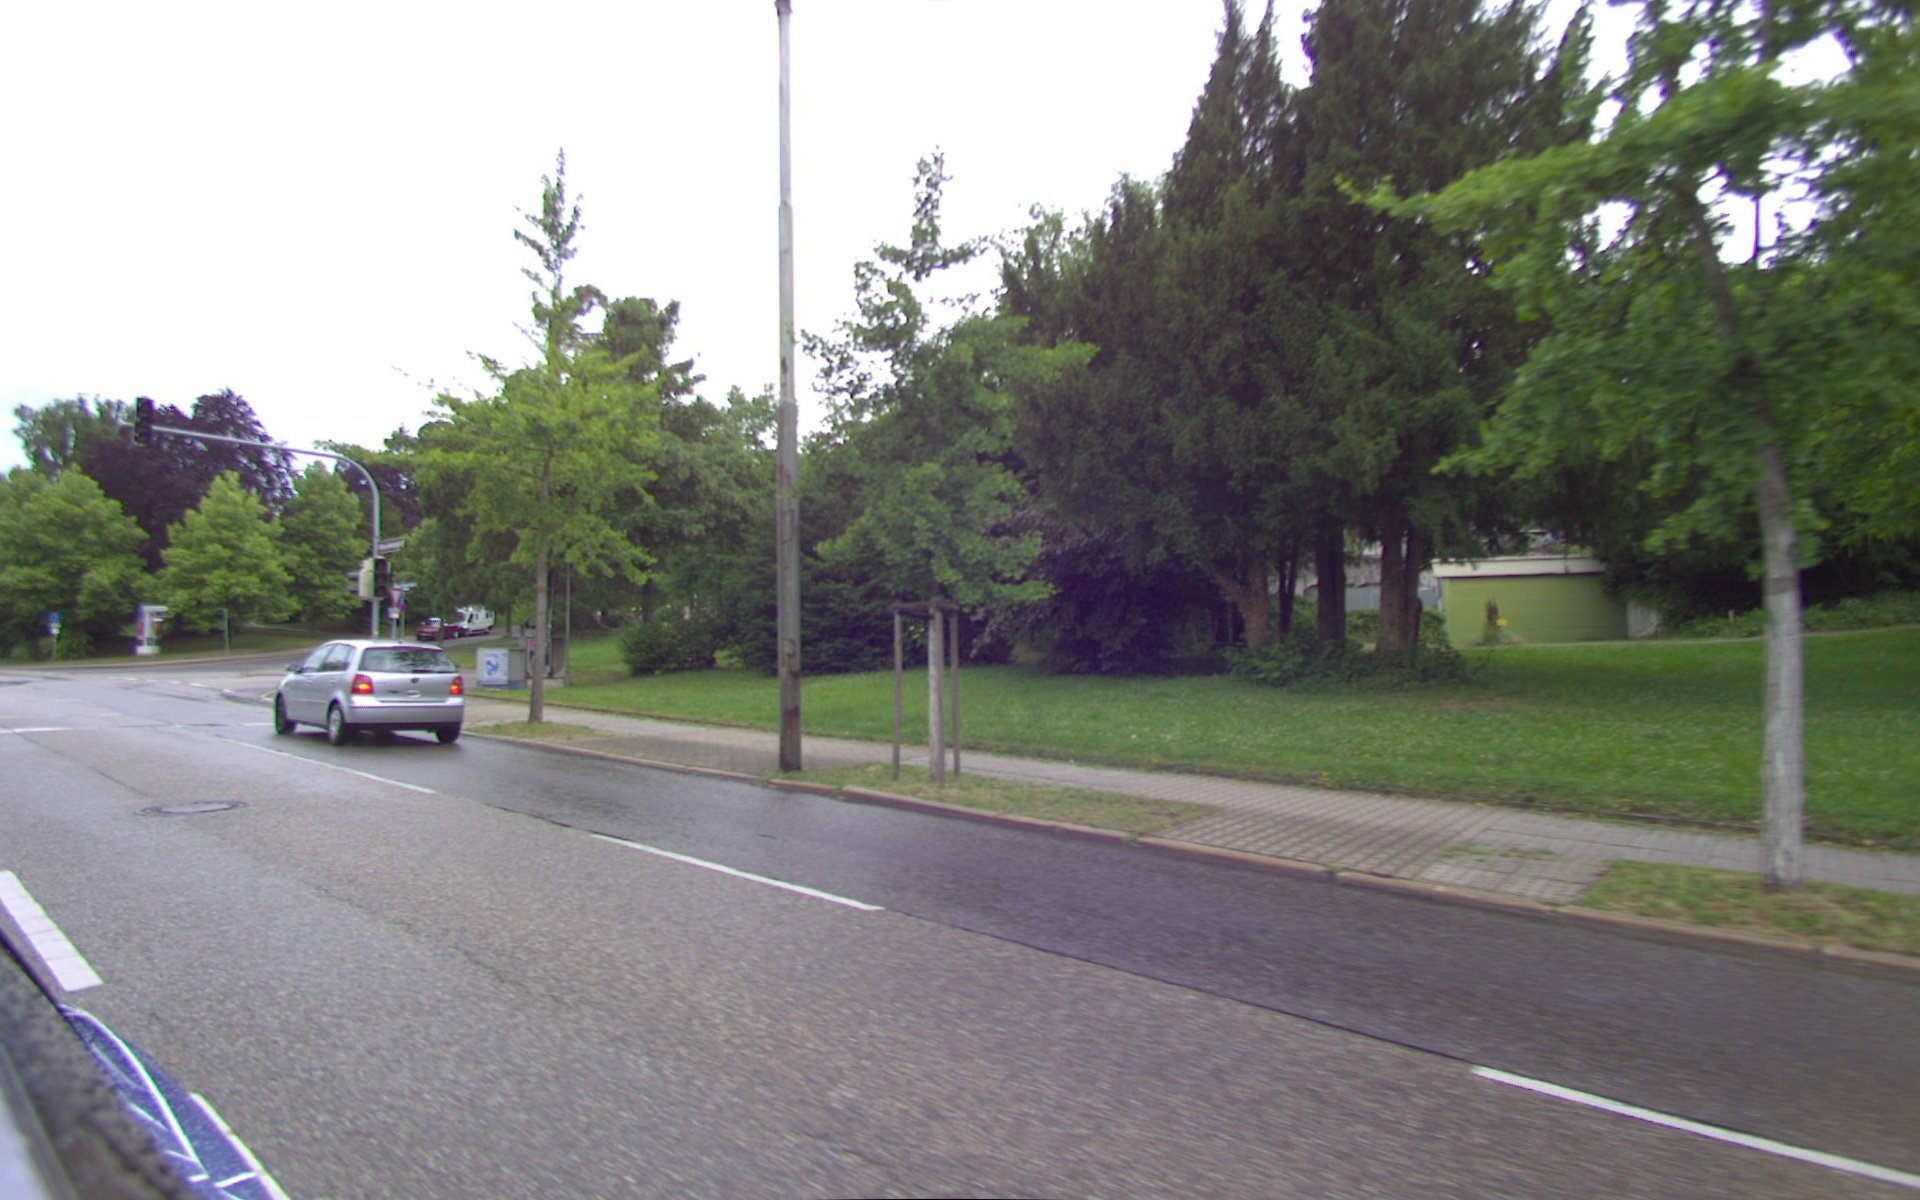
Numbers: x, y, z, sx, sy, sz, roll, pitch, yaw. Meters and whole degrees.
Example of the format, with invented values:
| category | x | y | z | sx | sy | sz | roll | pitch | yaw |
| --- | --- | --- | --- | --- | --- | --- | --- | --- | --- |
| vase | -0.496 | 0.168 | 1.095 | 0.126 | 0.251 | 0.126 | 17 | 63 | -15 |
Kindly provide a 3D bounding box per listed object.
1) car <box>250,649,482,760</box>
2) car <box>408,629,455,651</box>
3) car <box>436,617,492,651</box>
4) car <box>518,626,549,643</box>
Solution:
| category | x | y | z | sx | sy | sz | roll | pitch | yaw |
| --- | --- | --- | --- | --- | --- | --- | --- | --- | --- |
| car | -8.867 | 1.484 | 14.988 | 3.998 | 1.410 | 1.703 | -2 | -7 | 41 |
| car | -41.458 | 3.143 | 79.426 | 1.947 | 1.681 | 4.005 | -1 | -2 | -6 |
| car | -41.651 | 2.847 | 85.165 | 2.126 | 2.720 | 5.672 | -1 | -2 | -2 |
| car | -41.850 | 3.392 | 99.291 | 1.799 | 1.681 | 4.006 | -1 | -2 | -7 |
